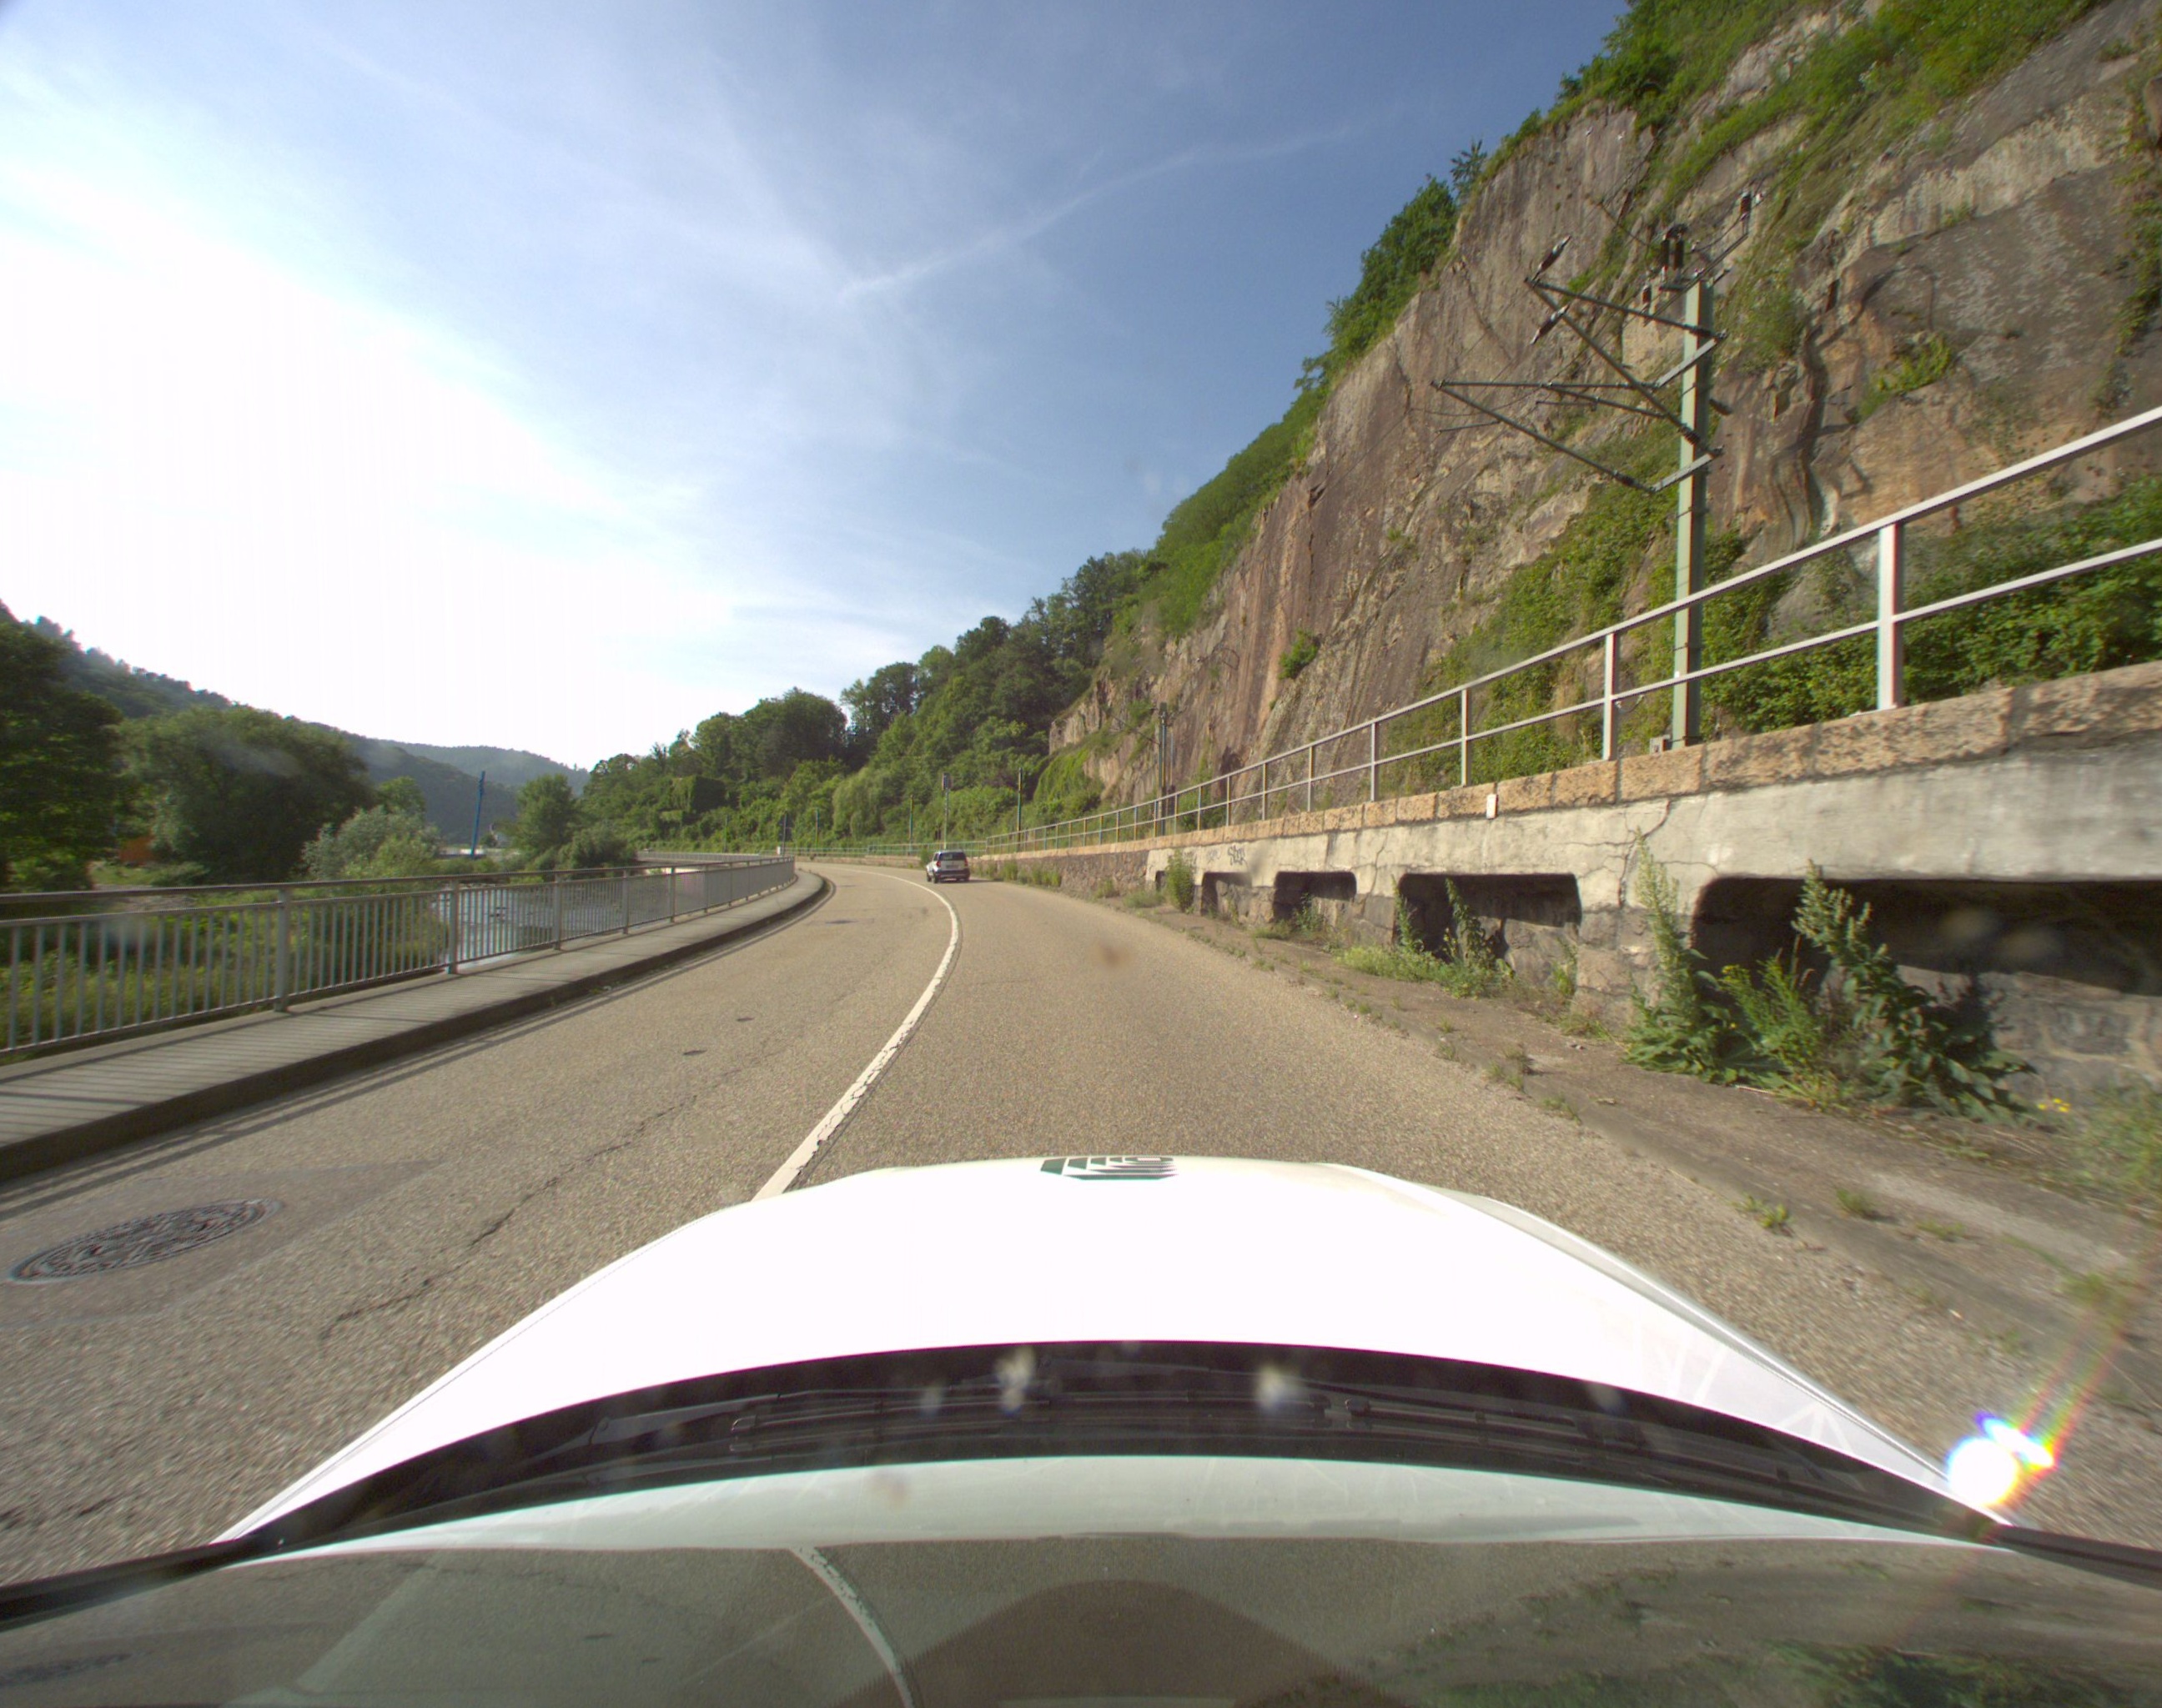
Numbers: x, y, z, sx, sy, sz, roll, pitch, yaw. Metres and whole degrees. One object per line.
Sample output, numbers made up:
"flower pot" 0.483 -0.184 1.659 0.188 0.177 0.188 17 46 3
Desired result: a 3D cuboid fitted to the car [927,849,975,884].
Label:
"car" -6.721 0.590 41.803 1.877 1.655 3.977 -1 1 -17
